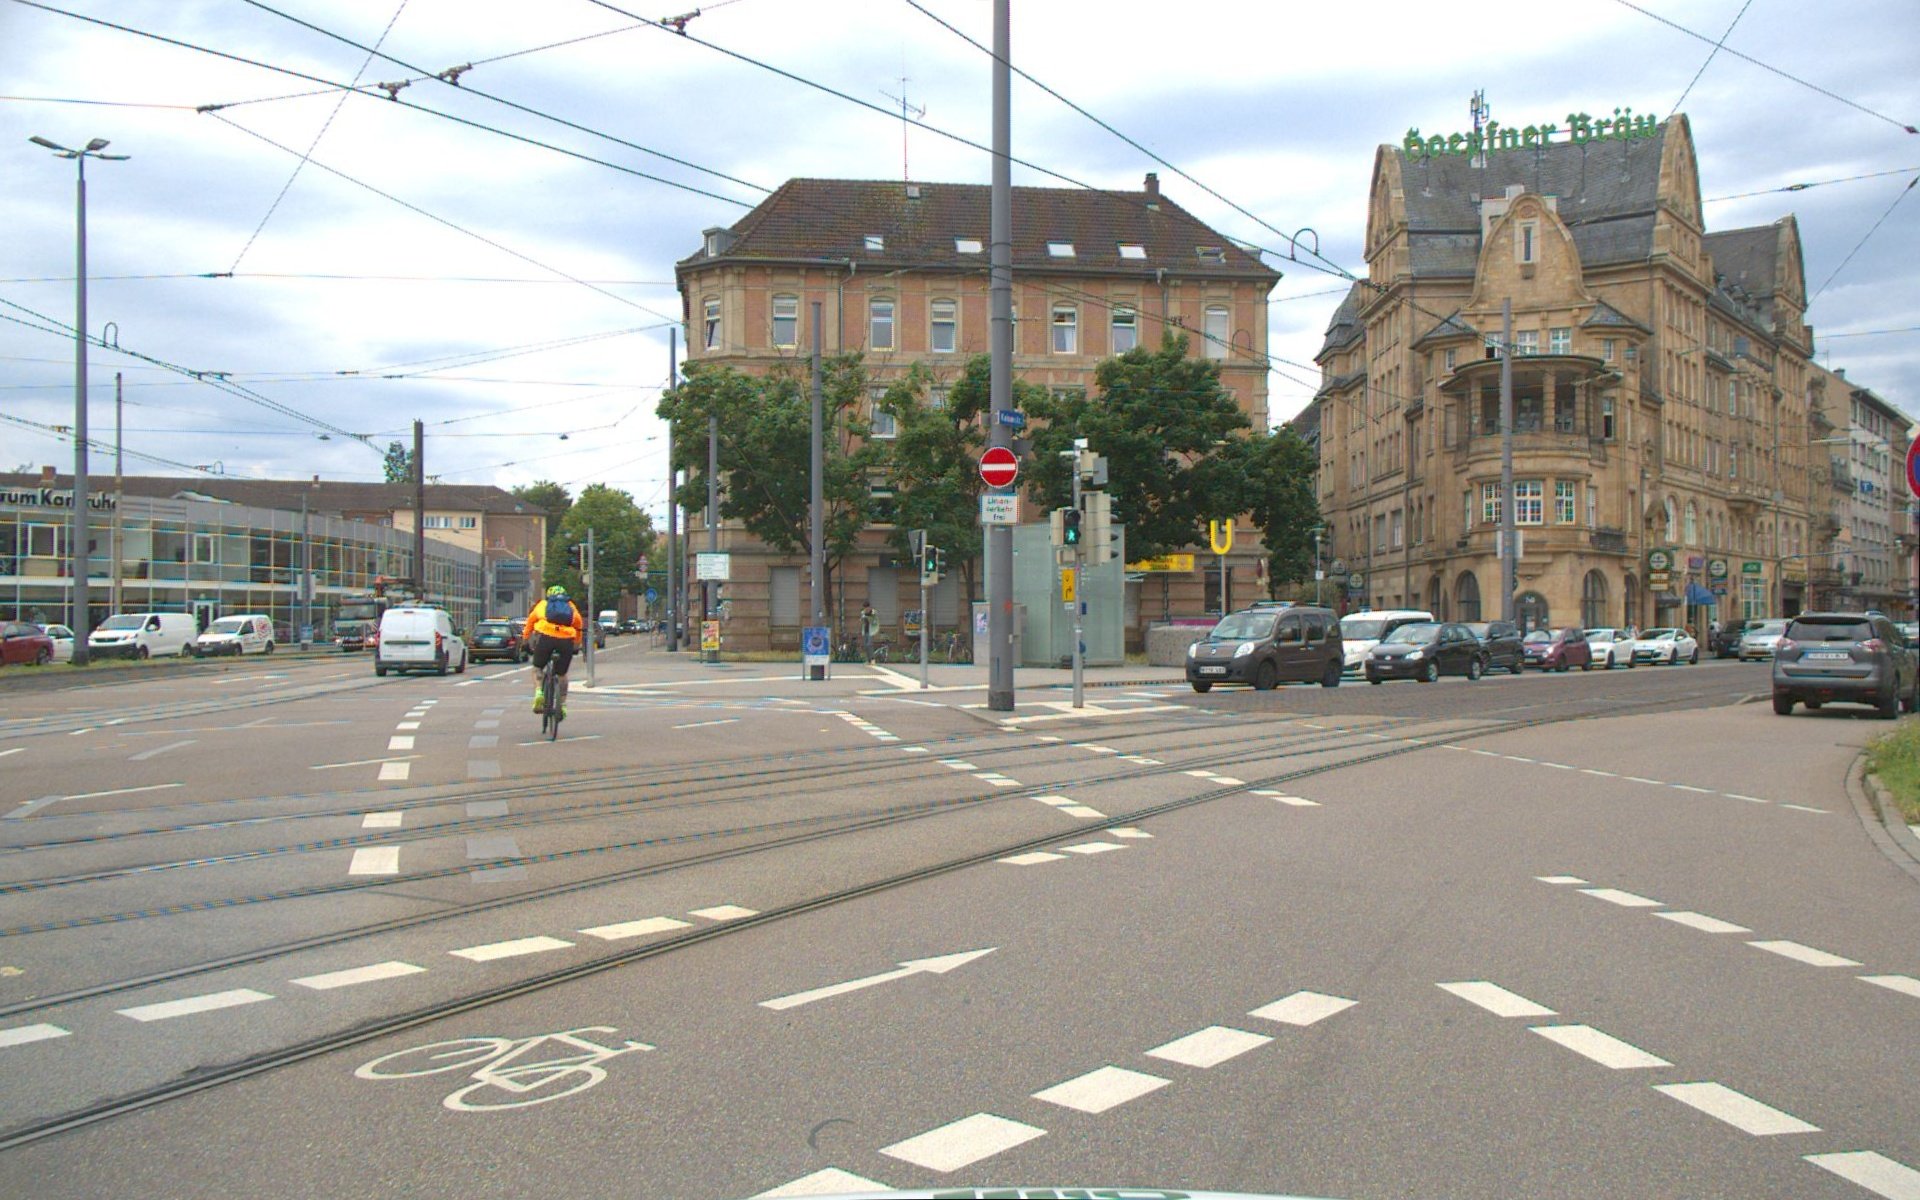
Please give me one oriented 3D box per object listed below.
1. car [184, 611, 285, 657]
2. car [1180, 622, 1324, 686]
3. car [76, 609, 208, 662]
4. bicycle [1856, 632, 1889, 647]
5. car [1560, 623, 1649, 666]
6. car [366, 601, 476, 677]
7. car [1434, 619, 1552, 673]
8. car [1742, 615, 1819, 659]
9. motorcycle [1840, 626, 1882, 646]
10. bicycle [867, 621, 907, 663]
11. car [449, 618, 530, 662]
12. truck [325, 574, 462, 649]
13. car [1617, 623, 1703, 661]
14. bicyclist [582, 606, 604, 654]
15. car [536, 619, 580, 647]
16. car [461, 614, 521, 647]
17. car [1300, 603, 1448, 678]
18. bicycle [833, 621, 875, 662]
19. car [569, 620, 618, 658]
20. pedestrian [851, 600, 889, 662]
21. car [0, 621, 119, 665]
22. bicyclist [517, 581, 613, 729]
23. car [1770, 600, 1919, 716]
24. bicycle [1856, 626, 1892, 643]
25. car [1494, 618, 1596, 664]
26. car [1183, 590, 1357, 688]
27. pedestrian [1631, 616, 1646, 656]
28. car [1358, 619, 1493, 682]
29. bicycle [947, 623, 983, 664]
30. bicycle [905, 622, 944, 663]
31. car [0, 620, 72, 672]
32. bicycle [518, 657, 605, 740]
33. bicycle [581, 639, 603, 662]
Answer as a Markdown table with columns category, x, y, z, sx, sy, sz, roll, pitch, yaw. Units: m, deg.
| category | x | y | z | sx | sy | sz | roll | pitch | yaw |
| --- | --- | --- | --- | --- | --- | --- | --- | --- | --- |
| car | -30.402 | 1.416 | 69.455 | 1.951 | 1.871 | 4.525 | 0 | -1 | 4 |
| car | 7.139 | 1.284 | 40.204 | 1.663 | 1.467 | 3.977 | -1 | -2 | 41 |
| car | -30.652 | 1.318 | 62.167 | 2.112 | 1.889 | 5.448 | 0 | -1 | 2 |
| bicycle | 60.818 | 2.634 | 110.211 | 1.886 | 1.019 | 0.462 | 0 | -1 | 31 |
| car | 22.898 | 1.560 | 58.713 | 1.718 | 1.404 | 4.341 | -4 | -3 | 38 |
| car | -14.625 | 1.044 | 45.112 | 1.875 | 1.974 | 4.127 | 0 | -1 | -4 |
| car | 16.246 | 1.391 | 50.297 | 1.836 | 1.561 | 4.276 | -3 | -3 | 42 |
| car | 33.868 | 1.531 | 68.191 | 1.833 | 1.736 | 4.886 | -2 | -2 | 38 |
| motorcycle | 59.275 | 2.364 | 108.788 | 2.288 | 1.325 | 0.883 | 0 | -1 | 1 |
| bicycle | -2.497 | 1.458 | 57.168 | 0.937 | 1.378 | 3.122 | 1 | -1 | 6 |
| car | -16.231 | 1.355 | 57.227 | 1.954 | 1.445 | 3.996 | 0 | -1 | -5 |
| truck | -28.880 | 0.665 | 84.832 | 2.734 | 3.612 | 9.229 | 1 | -1 | 7 |
| car | 26.981 | 1.592 | 63.707 | 1.897 | 1.404 | 4.235 | -1 | -1 | 40 |
| bicyclist | -13.331 | 1.098 | 60.050 | 0.677 | 1.738 | 0.794 | 0 | -1 | -19 |
| car | -27.568 | 2.267 | 113.662 | 1.953 | 1.871 | 4.522 | 0 | -1 | -1 |
| car | -27.620 | 1.791 | 97.580 | 1.951 | 1.871 | 4.525 | 0 | -1 | 4 |
| car | 11.463 | 1.083 | 45.548 | 1.836 | 1.950 | 5.070 | -1 | -1 | 42 |
| bicycle | -3.636 | 1.440 | 57.154 | 0.937 | 1.378 | 3.122 | 1 | -1 | 6 |
| car | -20.407 | 2.188 | 92.272 | 1.954 | 2.049 | 3.997 | 1 | -1 | -3 |
| pedestrian | -2.552 | 0.878 | 46.895 | 0.898 | 1.758 | 0.597 | 0 | -1 | -27 |
| car | -30.710 | 1.417 | 55.938 | 1.952 | 1.445 | 4.751 | 0 | -1 | 2 |
| bicyclist | -4.602 | 0.623 | 19.234 | 0.817 | 1.649 | 1.310 | 0 | -1 | -27 |
| car | 15.007 | 0.929 | 27.843 | 1.721 | 1.786 | 3.906 | 1 | 0 | 38 |
| bicycle | 63.735 | 2.406 | 115.298 | 2.189 | 1.146 | 0.503 | 0 | -1 | 31 |
| car | 19.192 | 1.335 | 54.191 | 1.835 | 1.424 | 3.873 | -3 | -3 | 41 |
| car | 6.592 | 0.808 | 34.877 | 1.663 | 1.934 | 4.361 | -1 | -2 | 41 |
| pedestrian | 30.375 | 1.604 | 74.015 | 0.617 | 1.750 | 0.532 | 0 | -1 | 23 |
| car | 11.363 | 1.204 | 40.248 | 1.663 | 1.467 | 3.977 | -1 | -2 | 41 |
| bicycle | 0.180 | 1.510 | 57.601 | 0.937 | 1.378 | 3.122 | 1 | -1 | 6 |
| bicycle | -1.214 | 1.478 | 57.203 | 0.937 | 1.378 | 3.122 | 1 | -1 | 6 |
| car | -27.363 | 1.286 | 46.750 | 1.953 | 1.445 | 4.800 | 0 | -1 | -1 |
| bicycle | -4.642 | 1.117 | 19.185 | 0.549 | 0.863 | 2.055 | 0 | -1 | -26 |
| bicycle | -13.347 | 1.814 | 60.008 | 0.609 | 0.807 | 1.583 | 0 | -1 | -19 |
